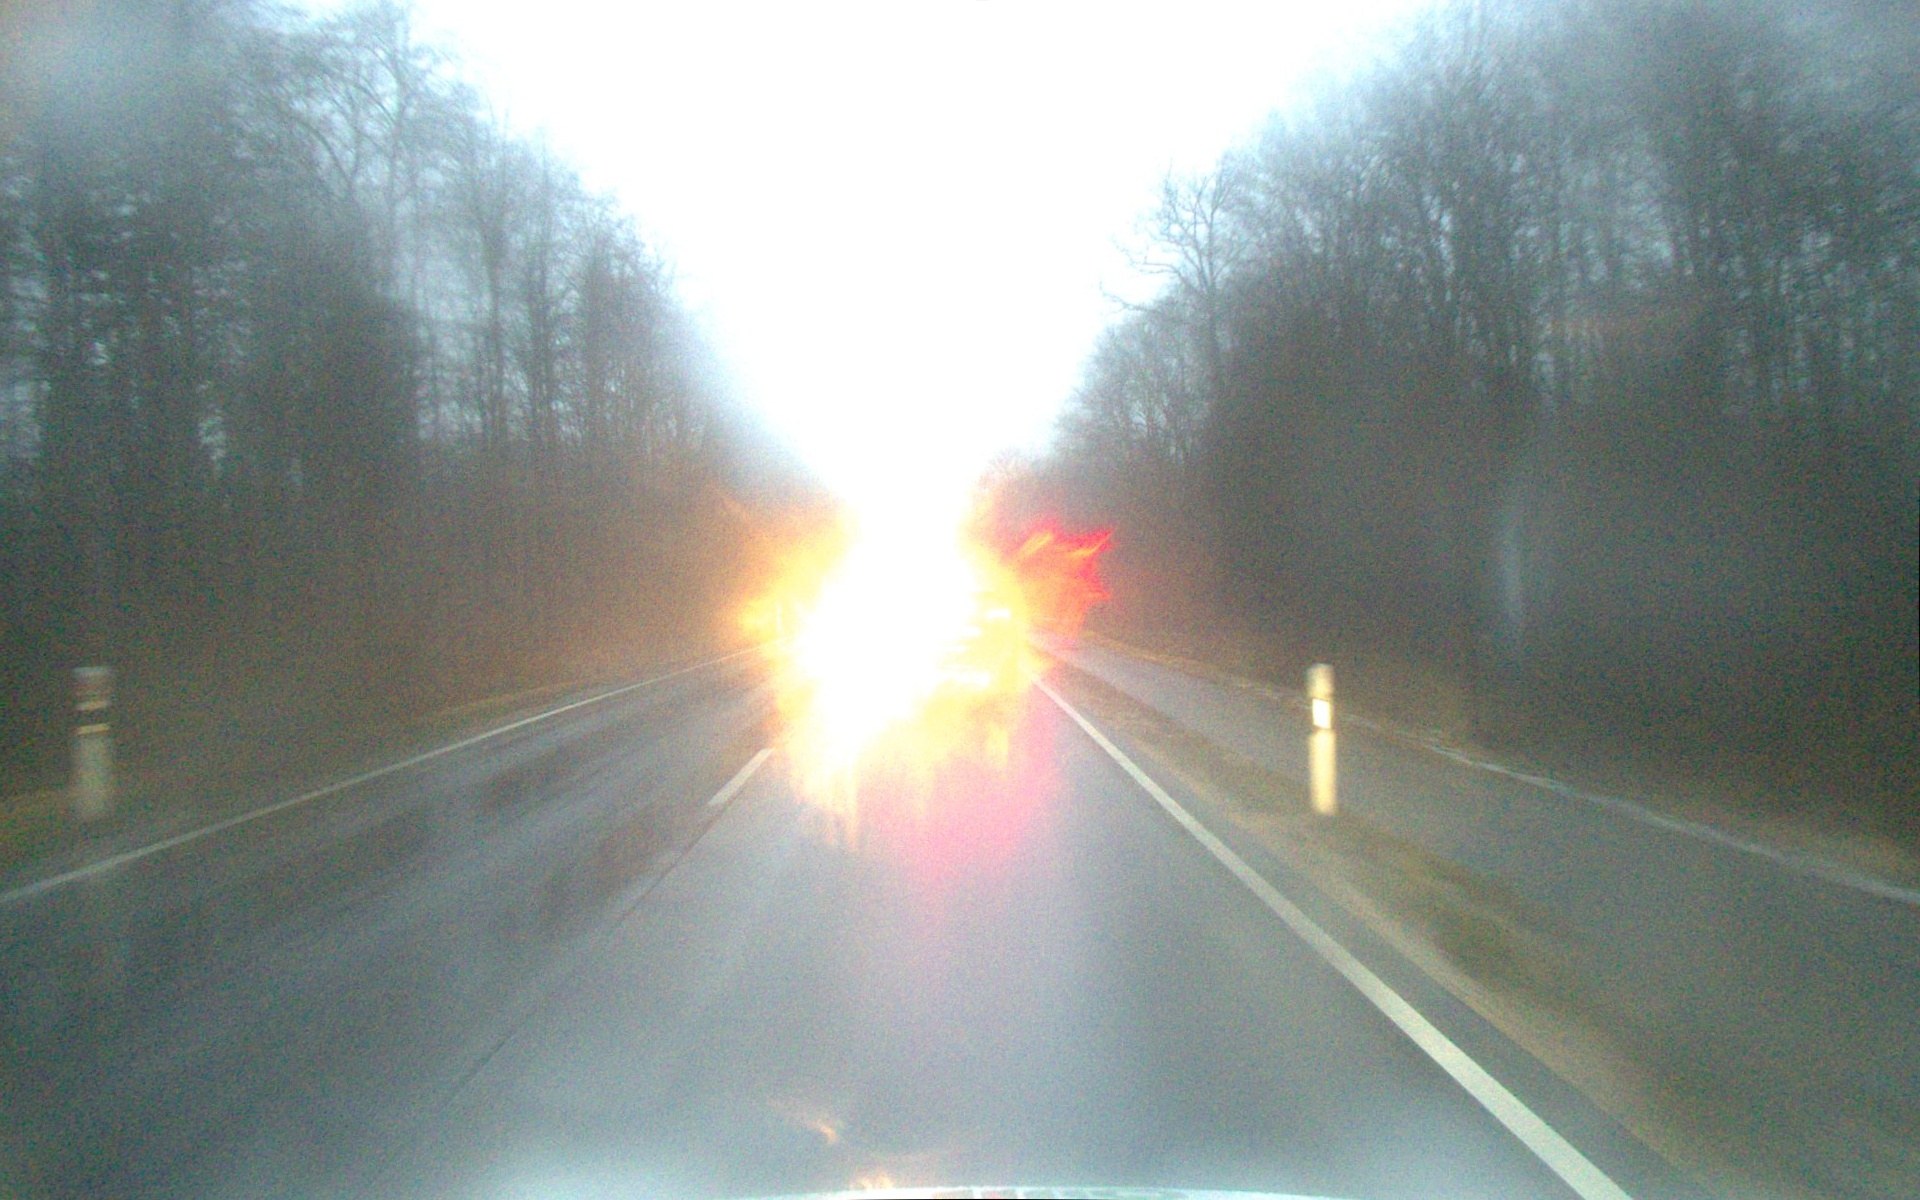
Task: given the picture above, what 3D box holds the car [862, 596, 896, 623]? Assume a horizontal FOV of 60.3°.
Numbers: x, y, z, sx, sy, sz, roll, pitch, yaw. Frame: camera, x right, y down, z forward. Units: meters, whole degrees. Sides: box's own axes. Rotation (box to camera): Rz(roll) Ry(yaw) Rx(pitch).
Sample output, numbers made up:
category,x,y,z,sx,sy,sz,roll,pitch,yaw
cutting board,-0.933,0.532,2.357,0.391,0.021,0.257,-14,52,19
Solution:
category,x,y,z,sx,sy,sz,roll,pitch,yaw
car,-4.644,0.531,95.528,1.762,1.487,4.176,-2,0,-1
